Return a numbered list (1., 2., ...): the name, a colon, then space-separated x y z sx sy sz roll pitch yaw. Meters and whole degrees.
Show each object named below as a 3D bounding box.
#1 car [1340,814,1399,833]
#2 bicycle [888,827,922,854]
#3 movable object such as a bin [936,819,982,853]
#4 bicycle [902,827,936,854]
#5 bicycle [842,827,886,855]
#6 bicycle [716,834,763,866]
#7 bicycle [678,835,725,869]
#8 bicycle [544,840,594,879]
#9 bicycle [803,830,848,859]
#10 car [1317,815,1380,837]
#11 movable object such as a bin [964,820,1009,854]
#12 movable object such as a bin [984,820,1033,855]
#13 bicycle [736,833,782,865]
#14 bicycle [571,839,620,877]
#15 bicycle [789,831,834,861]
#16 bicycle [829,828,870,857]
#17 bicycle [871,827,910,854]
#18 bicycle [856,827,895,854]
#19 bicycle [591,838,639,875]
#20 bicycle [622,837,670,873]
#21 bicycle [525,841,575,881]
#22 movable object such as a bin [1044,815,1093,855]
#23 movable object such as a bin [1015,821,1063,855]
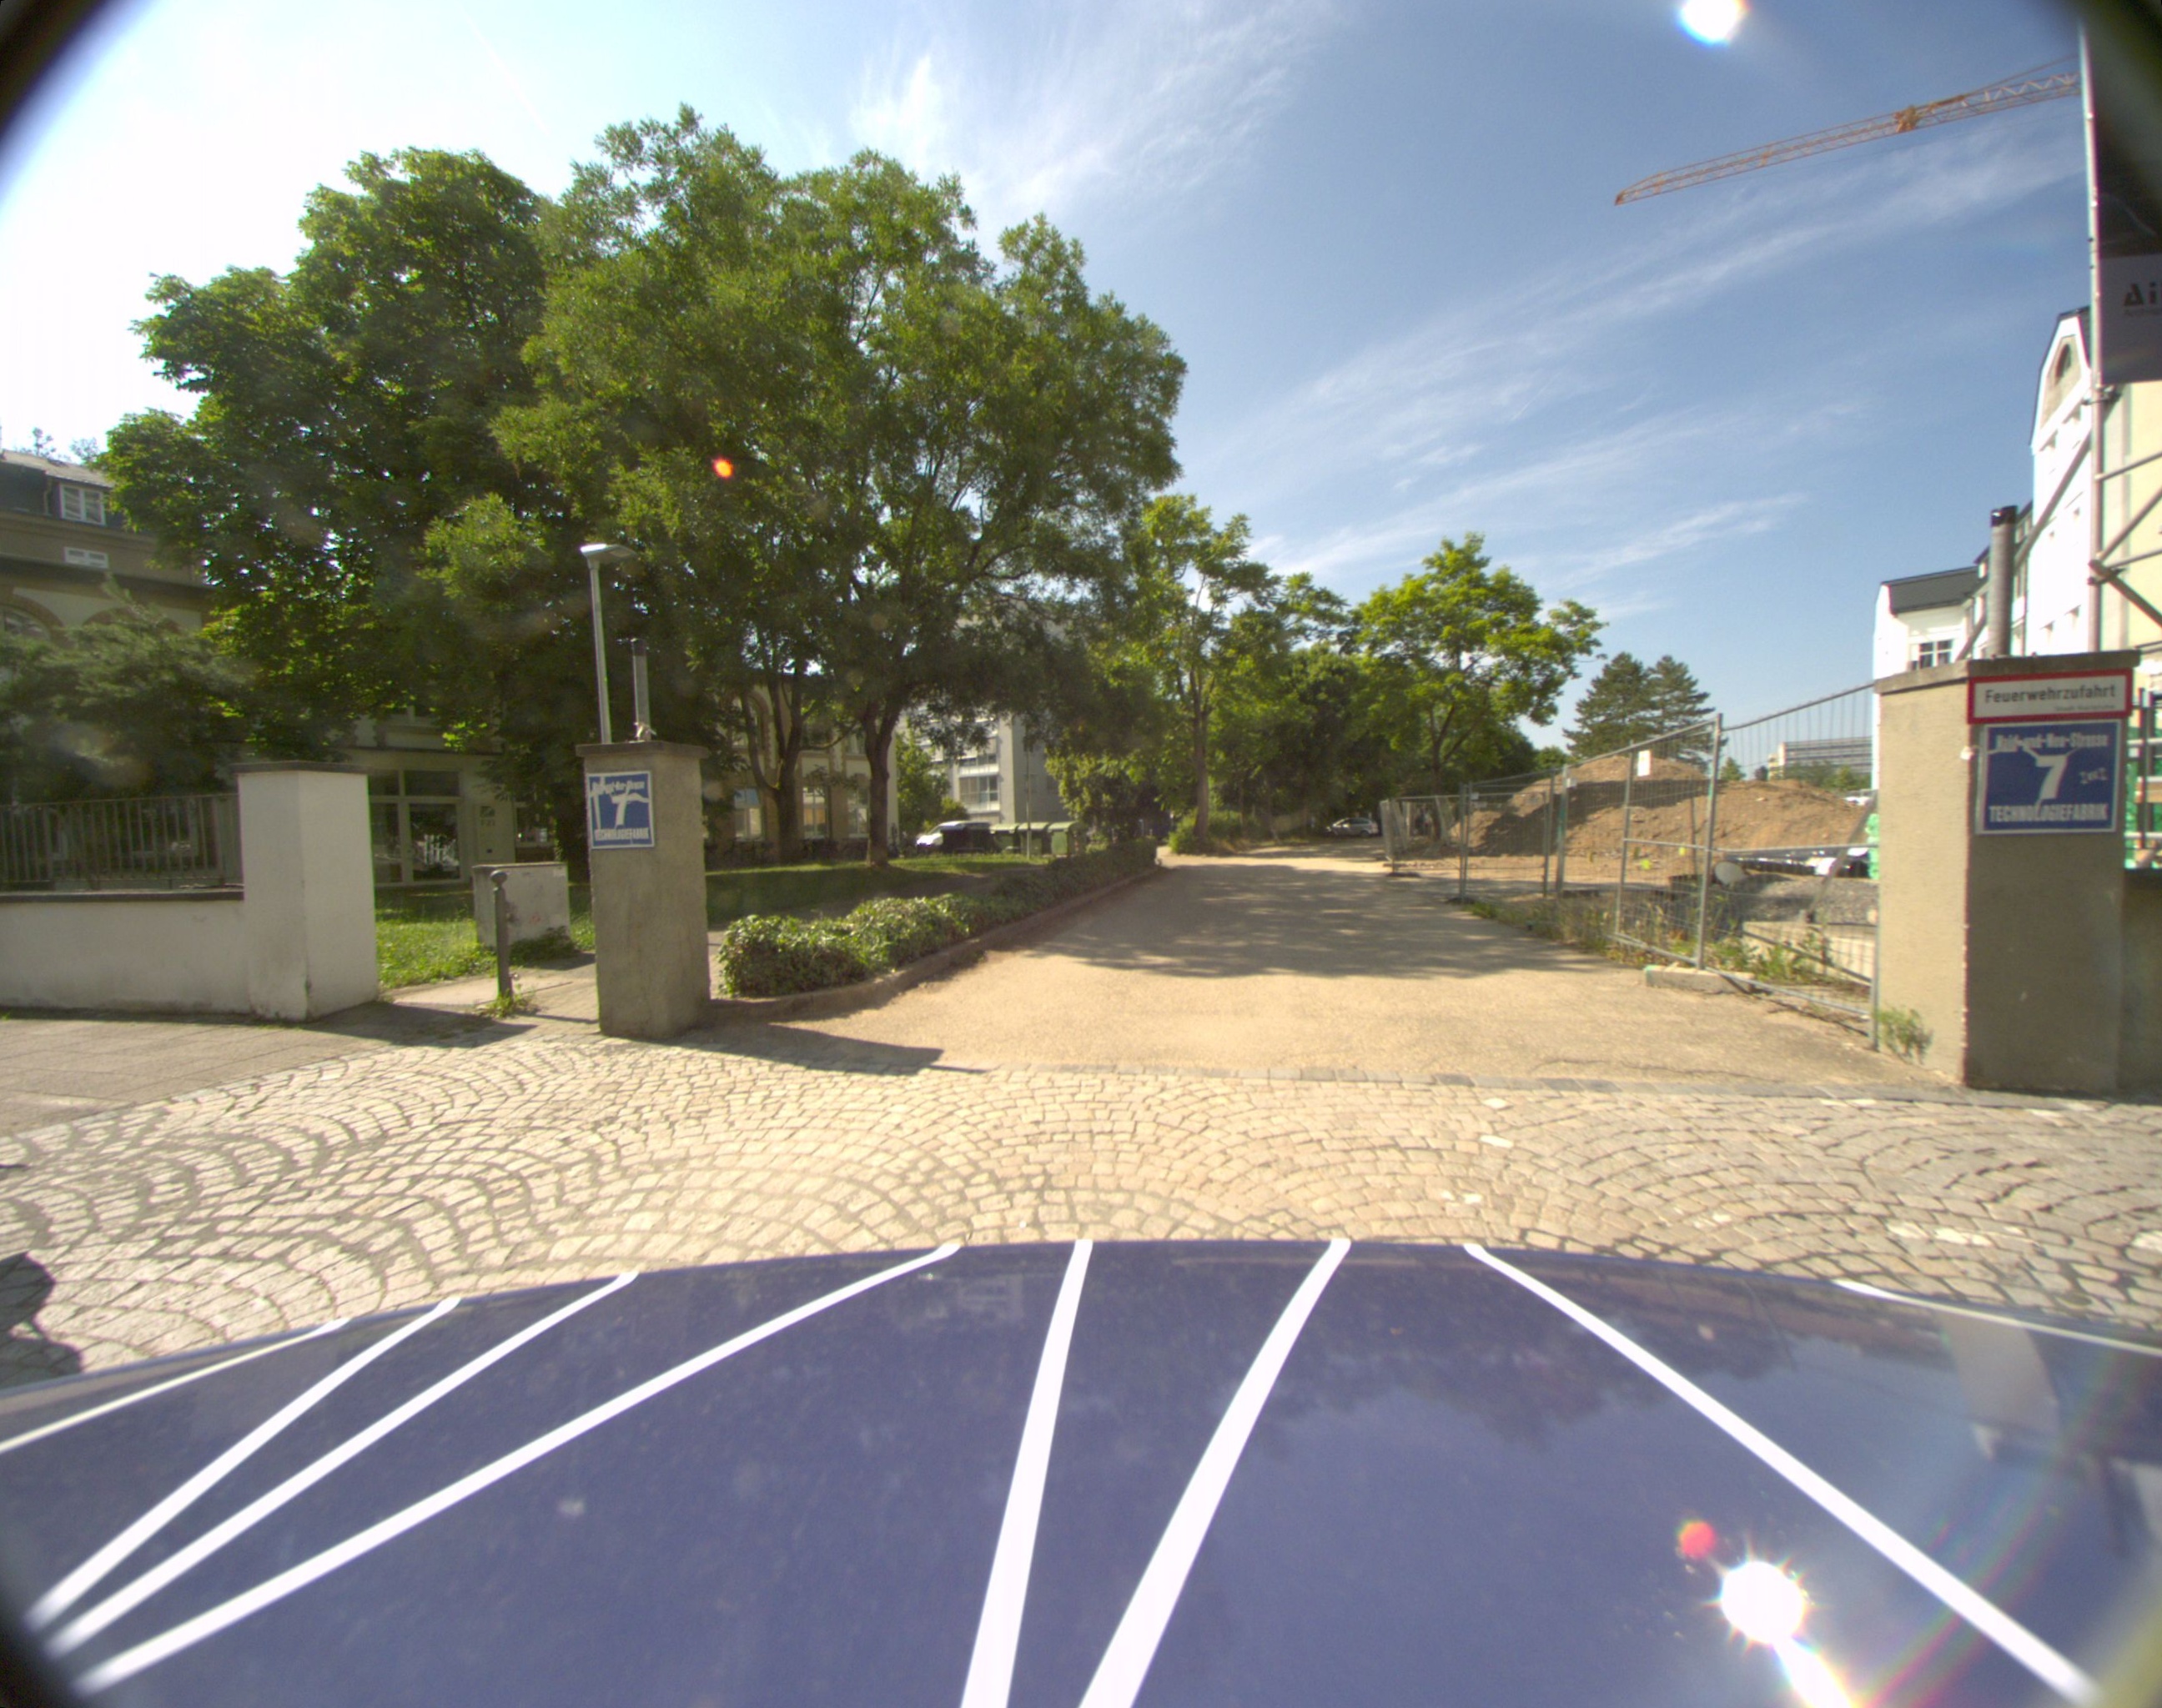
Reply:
1. car: 22.962 -2.424 60.477 3.988 1.434 2.003 0 3 33
2. bicycle: -7.867 -0.605 33.907 1.799 1.155 0.508 1 4 42
3. movable object such as a bin: -5.259 -0.786 32.717 1.432 1.402 1.252 0 4 34
4. bicycle: -7.307 -0.617 34.223 0.558 1.155 1.939 -5 4 -42
5. bicycle: -9.247 -0.549 32.336 2.096 1.155 0.589 1 4 38
6. bicycle: -12.647 -0.155 28.118 2.096 1.155 0.589 1 4 38
7. bicycle: -13.516 -0.091 27.066 2.096 1.155 0.589 1 4 38
8. bicycle: -16.073 0.148 23.831 2.096 1.155 0.589 1 4 38
9. bicycle: -10.407 -0.388 30.909 2.096 1.155 0.589 1 4 38
10. car: 19.754 -2.056 56.155 3.988 1.500 2.003 0 3 33
11. movable object such as a bin: -3.955 -0.713 31.845 1.348 1.342 1.217 0 4 35
12. movable object such as a bin: -2.925 -0.688 30.721 1.497 1.354 1.217 0 4 35
13. bicycle: -12.199 -0.200 28.751 2.096 1.155 0.589 1 4 38
14. bicycle: -15.615 0.105 24.413 2.096 1.155 0.589 1 4 38
15. bicycle: -10.775 -0.338 30.347 2.096 1.155 0.589 1 4 38
16. bicycle: -9.650 -0.478 31.704 1.916 1.155 0.589 1 4 38
17. bicycle: -8.387 -0.607 33.489 1.845 1.155 0.614 1 4 38
18. bicycle: -8.878 -0.582 32.776 1.908 1.155 0.495 1 4 38
19. bicycle: -15.330 0.056 24.980 2.096 1.155 0.589 1 4 38
20. bicycle: -14.706 0.010 25.676 2.096 1.155 0.589 1 4 38
21. bicycle: -16.129 0.200 23.043 2.096 1.155 0.589 1 4 38
22. movable object such as a bin: -0.489 -0.722 28.979 1.217 1.455 1.388 -4 4 -40
23. movable object such as a bin: -1.646 -0.627 29.858 1.351 1.293 1.217 0 4 35
